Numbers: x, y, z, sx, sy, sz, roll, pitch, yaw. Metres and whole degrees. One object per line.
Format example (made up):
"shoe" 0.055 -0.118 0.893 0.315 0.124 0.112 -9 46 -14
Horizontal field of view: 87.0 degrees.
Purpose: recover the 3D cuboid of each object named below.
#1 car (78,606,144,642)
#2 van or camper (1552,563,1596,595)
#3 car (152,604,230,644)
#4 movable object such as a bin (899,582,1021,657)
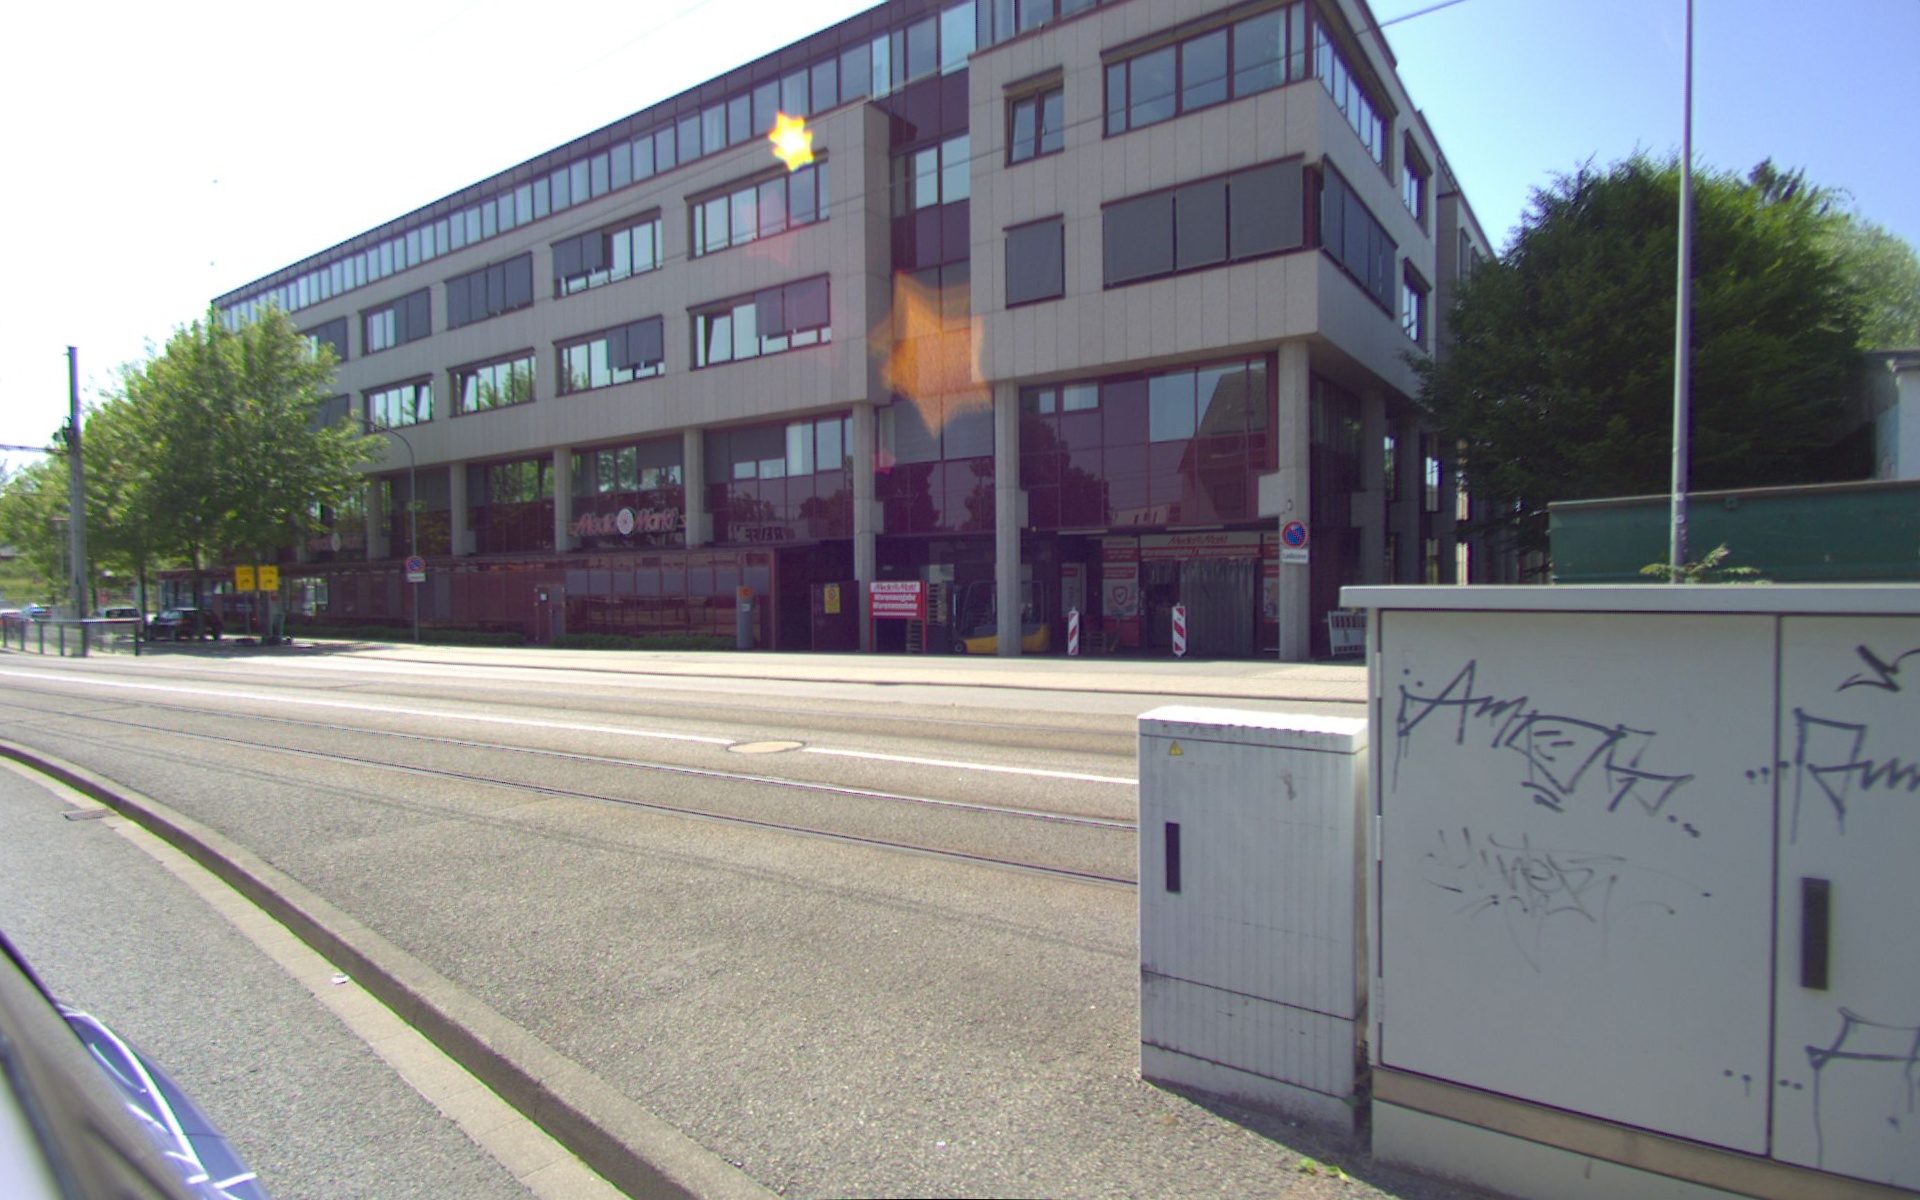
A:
"car" -40.194 1.115 47.888 3.998 1.630 1.847 -1 0 41
"van or camper" 48.545 -1.623 80.115 1.984 2.427 4.231 -1 0 18
"car" -33.619 1.041 44.239 3.998 1.635 1.973 -1 0 41
"movable object such as a bin" 0.034 0.548 28.855 3.149 2.029 1.738 -1 0 15
